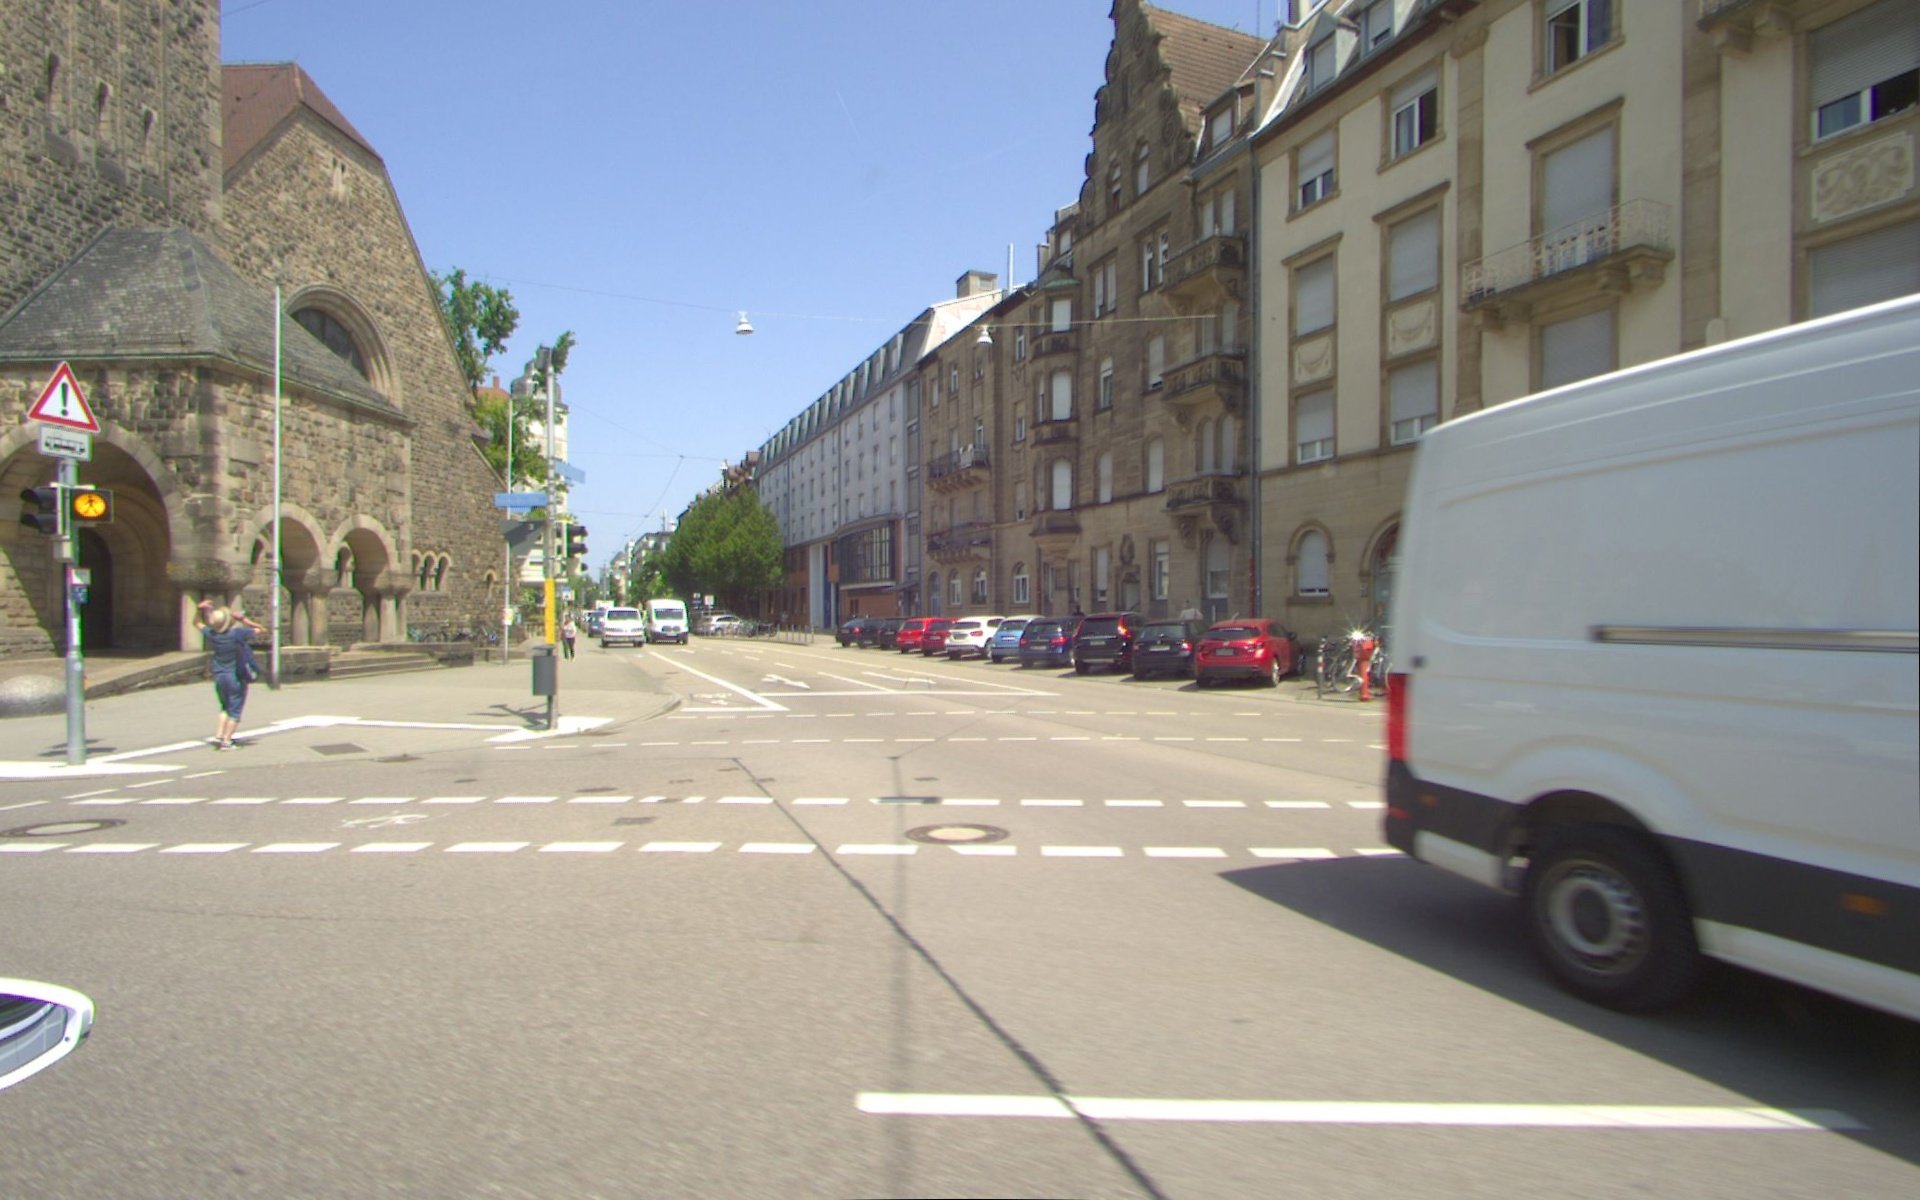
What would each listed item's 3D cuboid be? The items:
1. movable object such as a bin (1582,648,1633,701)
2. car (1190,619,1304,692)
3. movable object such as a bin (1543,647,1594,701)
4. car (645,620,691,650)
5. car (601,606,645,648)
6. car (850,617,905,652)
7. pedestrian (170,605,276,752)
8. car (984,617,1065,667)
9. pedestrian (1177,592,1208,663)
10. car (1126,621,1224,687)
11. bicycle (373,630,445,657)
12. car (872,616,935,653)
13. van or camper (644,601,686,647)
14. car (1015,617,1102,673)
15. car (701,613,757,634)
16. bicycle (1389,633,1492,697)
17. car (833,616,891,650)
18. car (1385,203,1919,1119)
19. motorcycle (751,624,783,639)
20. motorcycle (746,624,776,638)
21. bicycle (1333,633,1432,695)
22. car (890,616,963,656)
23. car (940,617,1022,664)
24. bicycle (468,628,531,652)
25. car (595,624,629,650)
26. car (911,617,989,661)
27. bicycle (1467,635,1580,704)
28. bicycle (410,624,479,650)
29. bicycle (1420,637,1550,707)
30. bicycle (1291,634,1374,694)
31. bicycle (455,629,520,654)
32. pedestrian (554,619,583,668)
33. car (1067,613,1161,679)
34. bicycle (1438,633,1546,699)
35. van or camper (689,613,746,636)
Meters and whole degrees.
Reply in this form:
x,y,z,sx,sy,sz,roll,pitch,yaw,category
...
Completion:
x,y,z,sx,sy,sz,roll,pitch,yaw,category
12.633,1.439,19.542,0.572,1.007,0.590,0,-1,-14,movable object such as a bin
6.645,1.237,23.012,1.595,1.498,3.208,-3,-2,33,car
12.332,1.487,20.303,0.658,1.078,0.590,0,-1,-14,movable object such as a bin
-15.007,1.759,51.338,1.967,1.476,3.990,0,-1,-21,car
-17.209,1.366,51.058,2.010,2.030,4.957,0,-1,-20,car
-3.995,1.661,48.826,1.470,1.595,3.222,-3,-1,18,car
-9.566,1.001,13.025,0.817,1.846,0.745,0,-1,10,pedestrian
2.293,1.442,34.986,1.593,1.595,3.213,-3,-1,28,car
7.108,0.839,30.678,0.850,2.141,1.101,0,-1,9,pedestrian
5.595,1.362,25.849,1.593,1.498,3.213,-3,-1,28,car
-21.283,1.667,38.724,2.450,1.024,0.706,0,0,4,bicycle
-2.582,1.587,46.562,1.591,1.595,3.217,-3,-1,24,car
-16.968,1.398,57.375,2.038,2.493,5.889,1,-1,-19,van or camper
3.182,1.406,31.850,1.593,1.595,3.213,-3,-1,28,car
-17.904,1.832,77.743,1.732,1.568,3.964,-2,-3,44,car
9.306,1.247,19.416,1.771,1.166,0.565,-1,-1,-8,bicycle
-5.000,1.669,51.365,1.590,1.595,3.218,-3,-1,22,car
4.162,0.166,2.159,2.042,2.671,6.617,0,-1,-20,car
-13.229,2.175,68.616,2.037,0.971,0.742,0,2,-5,motorcycle
-14.042,2.180,70.748,2.037,0.971,0.607,0,2,-5,motorcycle
8.474,1.276,20.100,1.771,1.166,0.565,-1,-1,-8,bicycle
-1.412,1.527,43.240,1.595,1.595,3.209,-3,-1,33,car
0.813,1.495,37.490,1.595,1.595,3.209,-3,-1,33,car
-20.049,1.724,43.586,2.450,1.024,0.706,0,0,4,bicycle
-24.352,2.587,70.217,1.964,1.750,3.996,0,-2,-15,car
-0.351,1.557,40.218,1.595,1.595,3.209,-3,-1,33,car
10.069,1.231,17.908,1.771,1.166,0.565,-1,-1,-8,bicycle
-20.684,1.492,40.189,2.450,1.024,0.706,0,0,4,bicycle
8.973,1.218,17.133,2.021,1.166,0.565,0,0,-8,bicycle
7.770,1.307,20.862,1.778,1.166,0.563,-1,-1,-27,bicycle
-20.055,1.753,42.515,2.450,1.024,0.706,0,0,4,bicycle
-13.031,1.440,33.367,0.707,1.579,0.792,0,0,-4,pedestrian
4.422,1.265,28.353,1.593,1.686,3.213,-3,-1,28,car
9.902,1.216,18.651,1.771,1.166,0.565,-1,-1,-8,bicycle
-19.931,2.004,82.385,1.977,1.861,4.292,-1,-2,41,van or camper
